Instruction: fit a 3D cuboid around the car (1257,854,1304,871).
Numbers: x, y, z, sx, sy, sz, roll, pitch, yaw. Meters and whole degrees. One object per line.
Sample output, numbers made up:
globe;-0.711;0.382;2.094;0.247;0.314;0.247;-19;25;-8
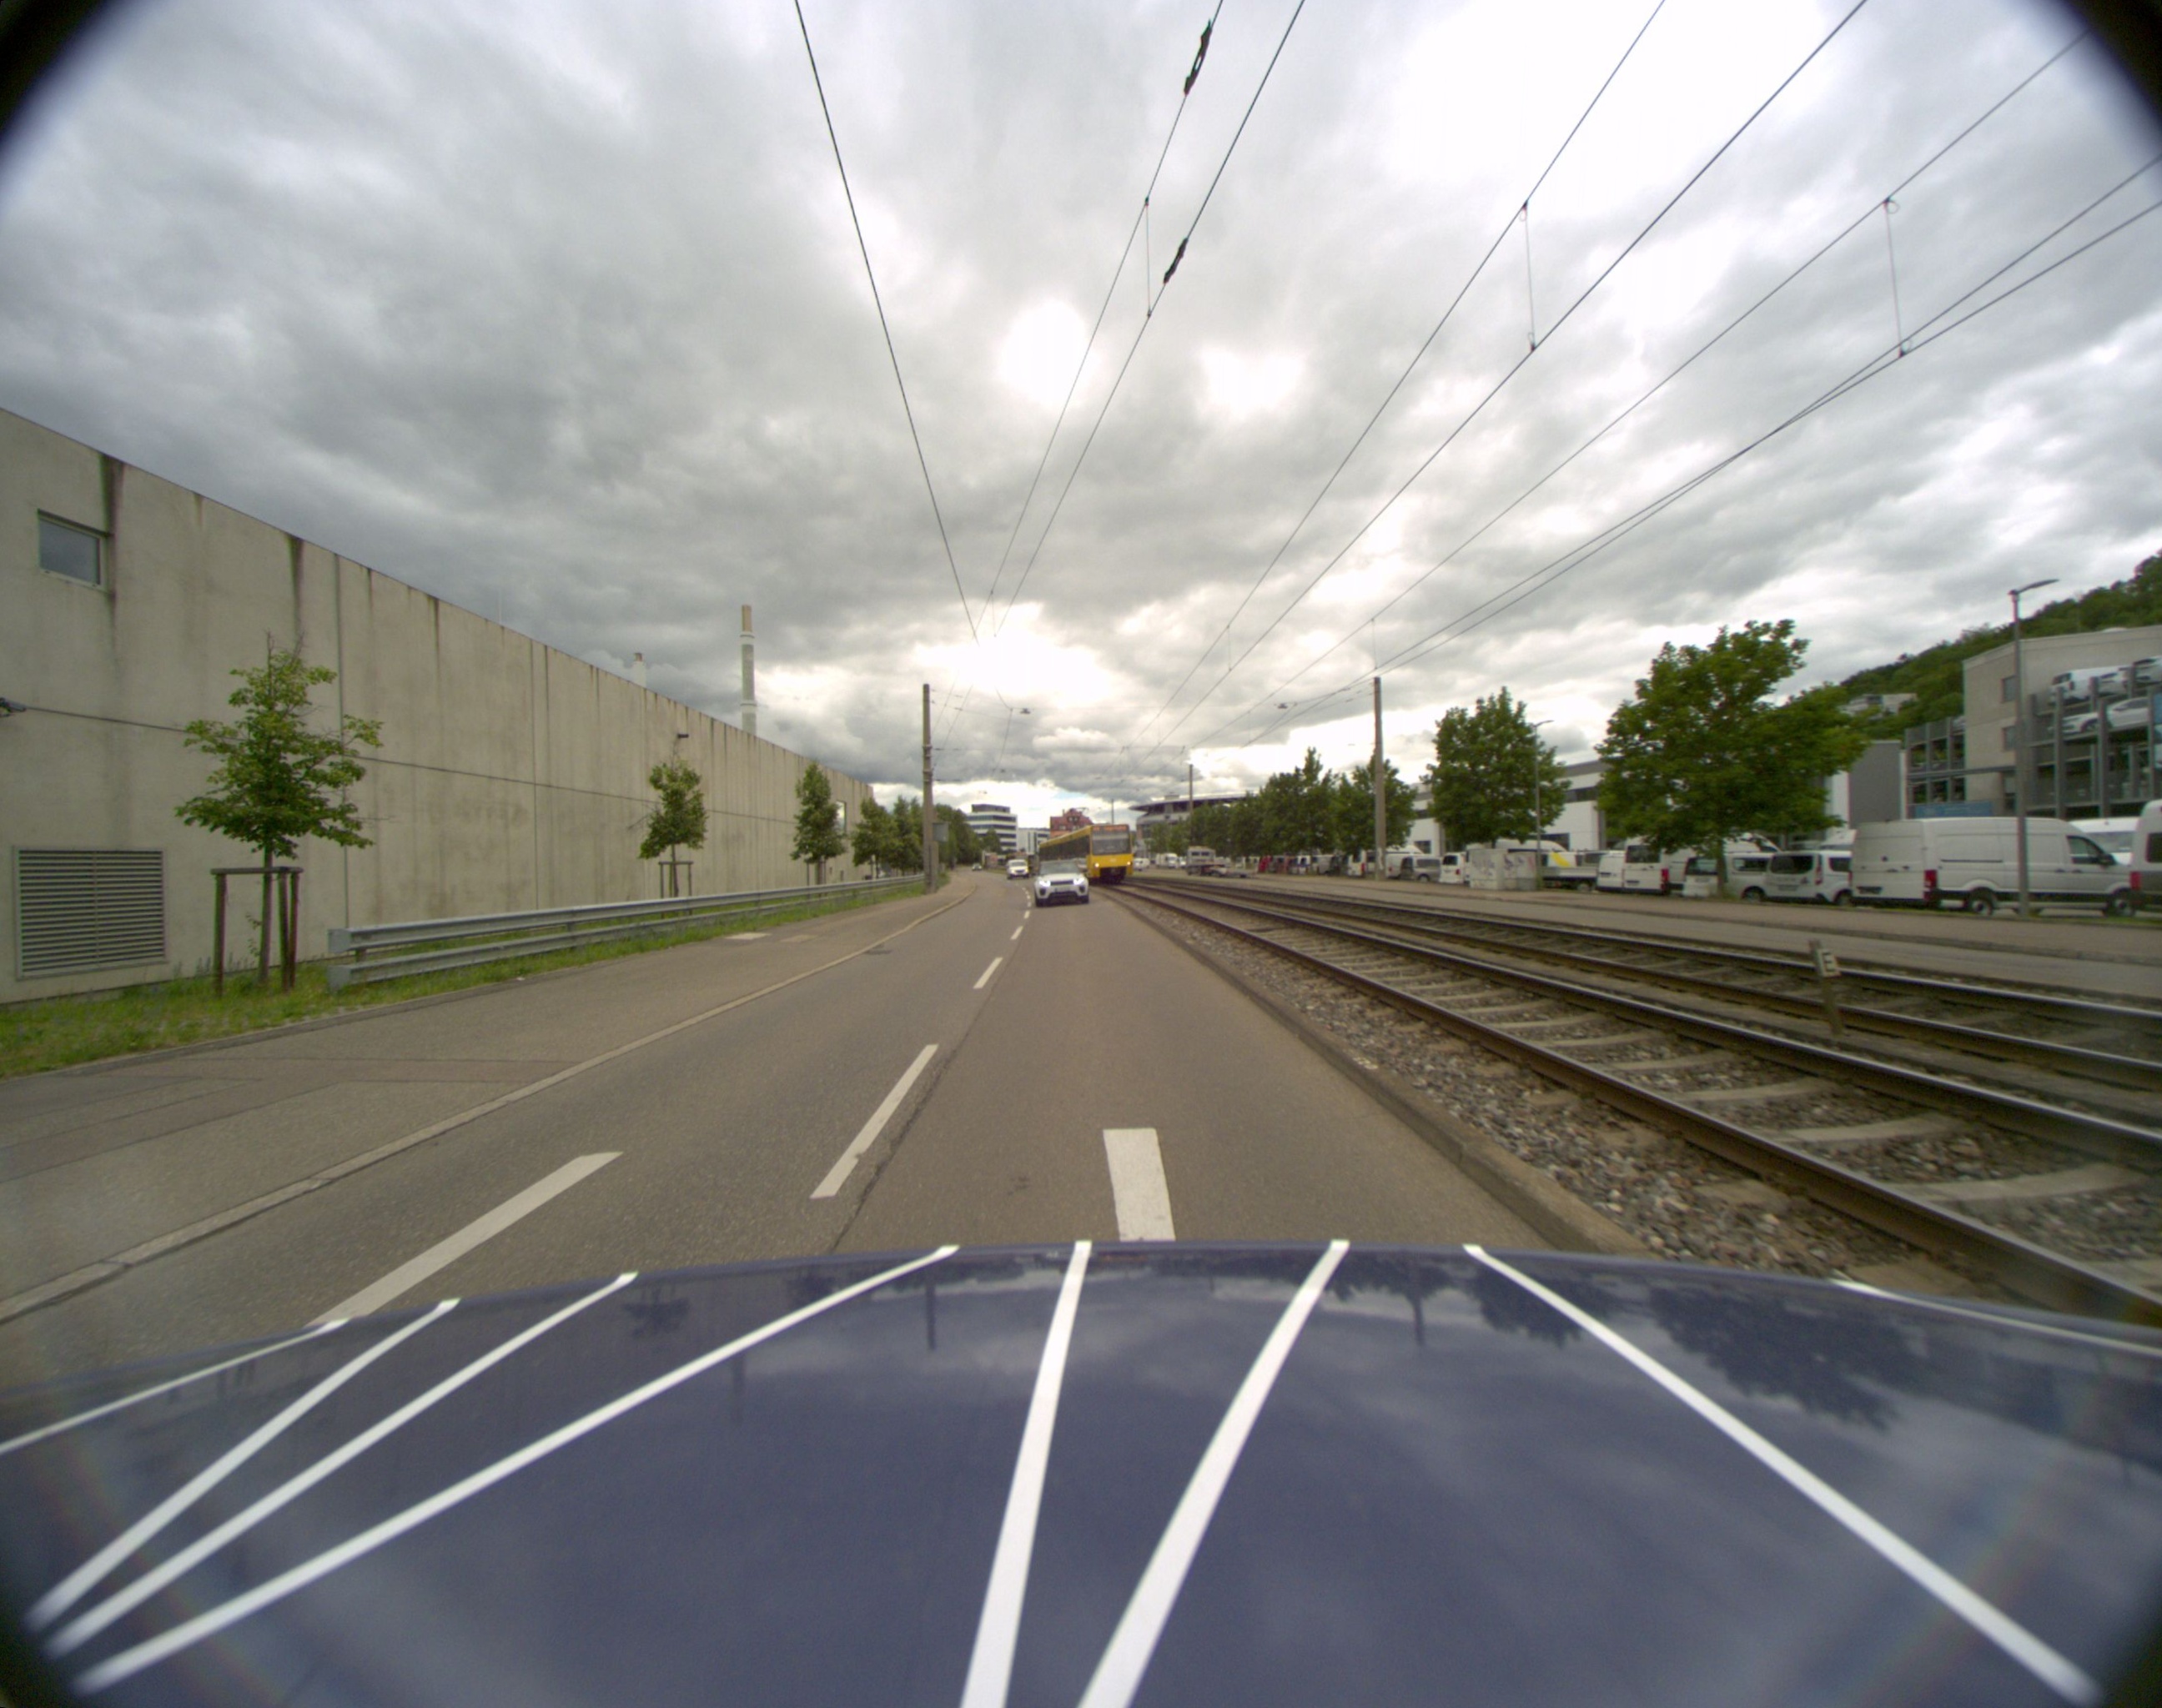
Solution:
car;20.192;0.834;77.106;4.188;1.608;2.063;-2;0;1

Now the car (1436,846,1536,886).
car;22.106;0.650;41.562;4.378;1.998;2.003;-2;0;-5

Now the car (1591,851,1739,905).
car;22.818;0.916;29.786;4.378;1.899;2.003;-2;0;-5

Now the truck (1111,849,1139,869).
truck;6.762;0.735;117.227;2.873;2.963;8.450;0;-1;-7

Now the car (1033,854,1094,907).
car;-0.667;0.934;28.246;1.999;1.717;3.999;-3;0;-2

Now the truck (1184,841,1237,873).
truck;11.627;0.318;69.104;2.764;2.725;9.216;0;0;-4

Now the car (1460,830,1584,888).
car;21.785;0.253;37.664;4.980;2.682;2.114;-2;0;-5

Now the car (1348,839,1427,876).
car;20.793;0.228;51.666;4.508;2.298;2.125;-2;0;0

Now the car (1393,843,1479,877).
car;21.933;0.360;47.056;4.376;1.936;2.004;-2;0;0

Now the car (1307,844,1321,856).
car;39.107;-0.686;127.517;1.996;2.002;4.005;-1;0;19

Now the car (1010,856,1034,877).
car;-5.637;1.200;72.153;2.000;1.881;4.624;-1;0;-7

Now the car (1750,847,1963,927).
car;22.667;0.924;22.320;4.378;2.093;2.003;-2;0;-5

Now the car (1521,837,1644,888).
car;22.957;0.374;34.857;4.378;2.160;2.003;-2;0;-5

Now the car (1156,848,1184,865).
car;13.952;0.494;119.931;2.002;2.546;5.854;-2;0;-19

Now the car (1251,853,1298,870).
car;20.424;0.806;80.258;4.356;1.608;2.120;-2;0;1

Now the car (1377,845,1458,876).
car;21.806;0.427;49.374;4.376;1.834;2.004;-2;0;0

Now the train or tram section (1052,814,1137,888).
train or tram section;0.481;-0.164;51.316;3.398;3.984;16.934;-3;0;-6

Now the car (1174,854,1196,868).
car;15.568;0.993;113.849;2.000;2.002;4.805;-2;0;-8

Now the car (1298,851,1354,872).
car;20.595;0.652;64.002;3.997;1.608;2.000;-2;0;1

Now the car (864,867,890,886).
car;-19.214;2.091;71.694;1.755;1.564;4.427;-3;-1;-9

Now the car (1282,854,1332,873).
car;20.681;0.873;69.696;3.997;1.608;2.000;-2;0;1

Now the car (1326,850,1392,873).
car;21.737;0.592;59.484;4.376;1.676;2.004;-2;0;0

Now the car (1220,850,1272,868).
car;19.249;0.580;88.701;5.703;1.996;2.146;-1;0;17

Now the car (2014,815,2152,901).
car;33.168;0.083;25.104;5.962;2.587;1.999;-1;0;-30

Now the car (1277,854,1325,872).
car;20.790;0.848;71.855;3.997;1.608;2.000;-2;0;1

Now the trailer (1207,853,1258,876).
trailer;12.090;0.807;61.108;2.389;1.688;6.946;0;0;-3

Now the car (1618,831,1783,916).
car;22.083;0.686;27.197;4.378;2.802;2.003;-2;0;-5

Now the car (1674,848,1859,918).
car;22.326;0.913;24.860;4.378;2.093;2.003;-2;0;-5

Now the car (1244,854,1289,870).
car;20.231;0.890;83.046;4.347;1.608;2.154;-2;0;1

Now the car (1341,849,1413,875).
car;21.312;0.556;54.754;4.378;1.679;2.031;-2;0;-4

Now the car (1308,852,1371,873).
car;20.879;0.691;61.572;4.377;1.608;2.004;-2;0;-1

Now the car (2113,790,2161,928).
car;24.480;0.064;14.291;2.113;3.001;5.937;-1;0;1

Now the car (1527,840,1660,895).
car;21.732;0.560;32.320;4.378;2.160;2.003;-2;0;-5

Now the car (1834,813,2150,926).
car;23.278;0.380;19.609;5.487;2.587;2.246;-2;0;-1

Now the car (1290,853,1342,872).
car;20.744;0.756;67.160;3.997;1.608;2.000;-2;0;1

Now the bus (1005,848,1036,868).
bus;-13.108;0.868;163.516;3.564;3.930;10.473;-3;1;-22

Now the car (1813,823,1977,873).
car;35.093;-0.245;32.855;4.855;2.002;2.000;-1;0;1

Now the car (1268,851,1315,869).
car;20.554;0.586;74.327;3.997;1.654;2.048;-2;0;1

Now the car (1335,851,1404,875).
car;21.630;0.677;57.014;4.376;1.608;2.004;-2;0;0

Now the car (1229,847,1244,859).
car;27.042;-0.212;132.089;1.996;2.002;4.005;-1;0;19

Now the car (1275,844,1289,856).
car;33.995;-0.635;128.404;1.996;2.002;4.005;-1;0;19

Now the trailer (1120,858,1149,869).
trailer;7.671;1.348;109.428;2.766;1.486;7.221;1;-1;-7

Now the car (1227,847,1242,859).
car;26.442;-0.203;130.903;1.996;2.002;4.006;-1;0;19
